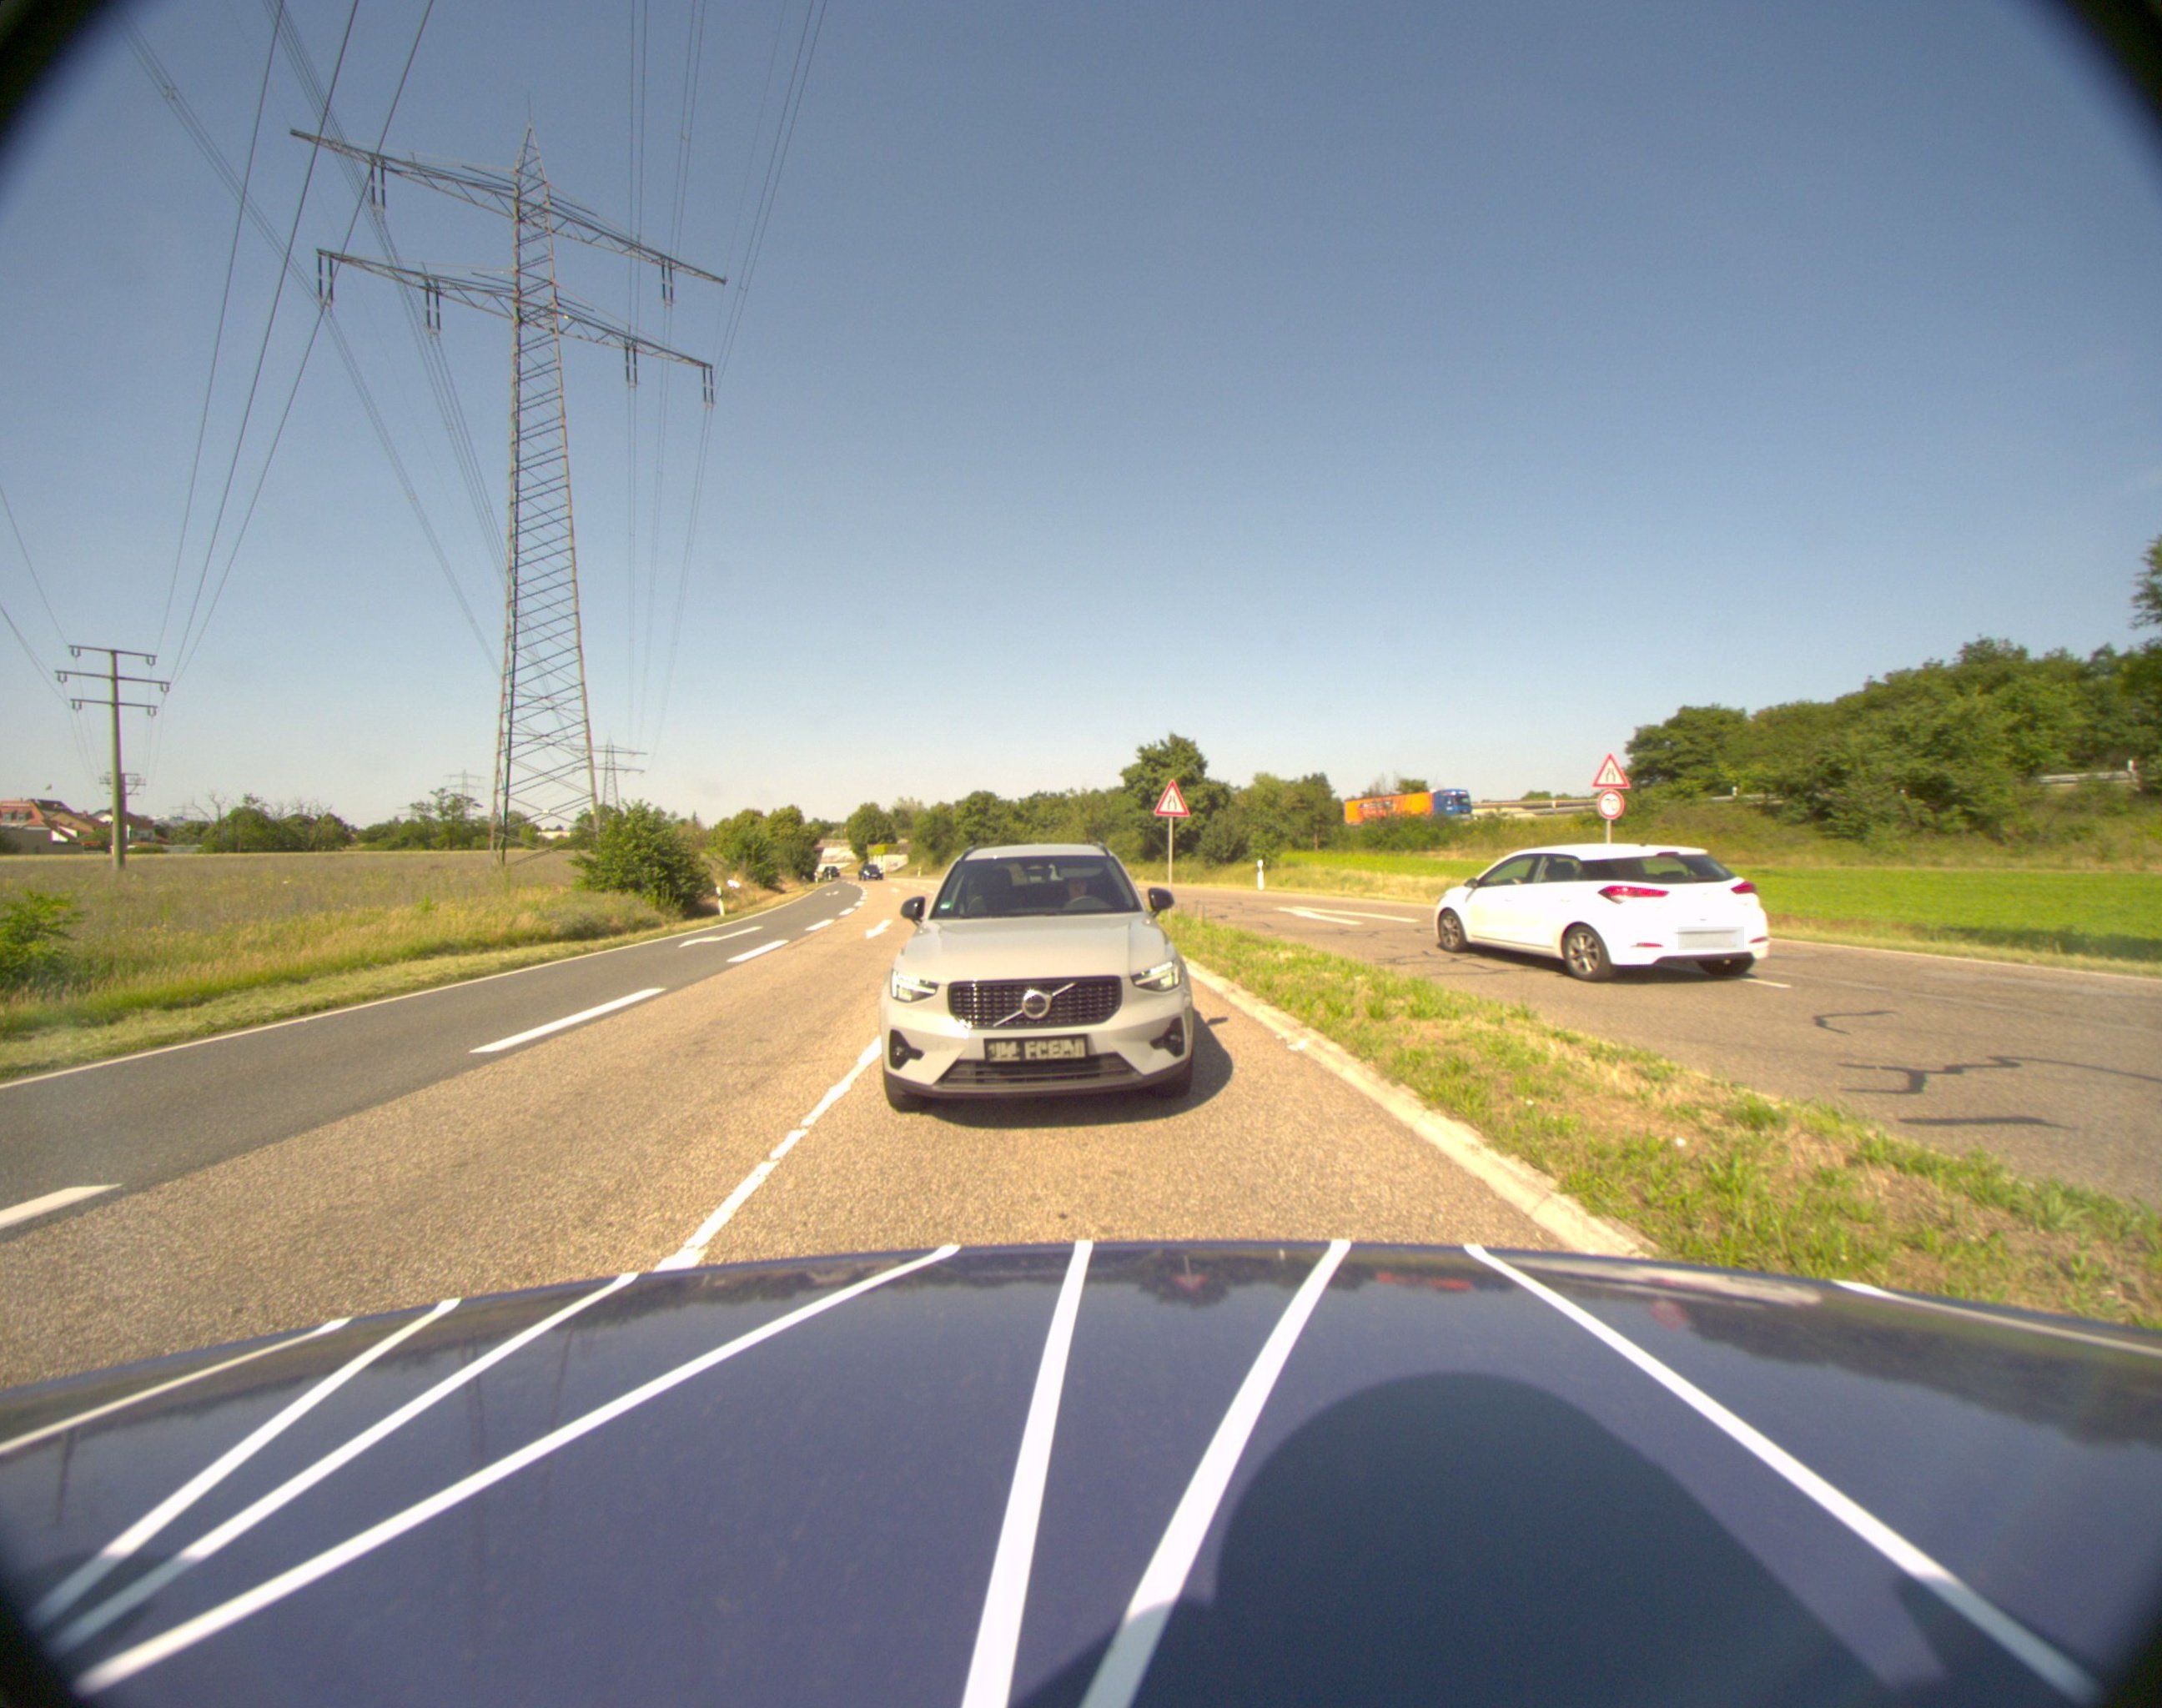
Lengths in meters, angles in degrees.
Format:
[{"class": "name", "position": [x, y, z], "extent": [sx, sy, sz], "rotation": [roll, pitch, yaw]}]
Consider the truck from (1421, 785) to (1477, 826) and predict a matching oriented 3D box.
[{"class": "truck", "position": [38.422, -4.991, 79.364], "extent": [2.565, 3.953, 4.657], "rotation": [-3, 1, -21]}]

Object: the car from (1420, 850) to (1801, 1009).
[{"class": "car", "position": [5.960, 0.713, 9.224], "extent": [1.722, 1.456, 3.910], "rotation": [-1, 1, -4]}]

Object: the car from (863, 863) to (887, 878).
[{"class": "car", "position": [-20.588, 1.635, 75.843], "extent": [1.901, 1.344, 3.528], "rotation": [-3, 1, -22]}]

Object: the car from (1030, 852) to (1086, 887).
[{"class": "car", "position": [-1.426, 0.876, 44.796], "extent": [2.001, 1.907, 4.941], "rotation": [-2, 0, -17]}]

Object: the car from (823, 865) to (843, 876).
[{"class": "car", "position": [-32.651, 2.178, 99.883], "extent": [1.901, 1.344, 3.527], "rotation": [-3, 1, -27]}]

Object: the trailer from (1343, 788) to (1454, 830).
[{"class": "trailer", "position": [35.639, -4.947, 86.406], "extent": [2.580, 3.936, 13.847], "rotation": [-3, 1, -22]}]

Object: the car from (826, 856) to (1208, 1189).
[{"class": "car", "position": [-0.298, 0.851, 5.627], "extent": [1.859, 1.609, 3.647], "rotation": [-2, 0, 1]}]
